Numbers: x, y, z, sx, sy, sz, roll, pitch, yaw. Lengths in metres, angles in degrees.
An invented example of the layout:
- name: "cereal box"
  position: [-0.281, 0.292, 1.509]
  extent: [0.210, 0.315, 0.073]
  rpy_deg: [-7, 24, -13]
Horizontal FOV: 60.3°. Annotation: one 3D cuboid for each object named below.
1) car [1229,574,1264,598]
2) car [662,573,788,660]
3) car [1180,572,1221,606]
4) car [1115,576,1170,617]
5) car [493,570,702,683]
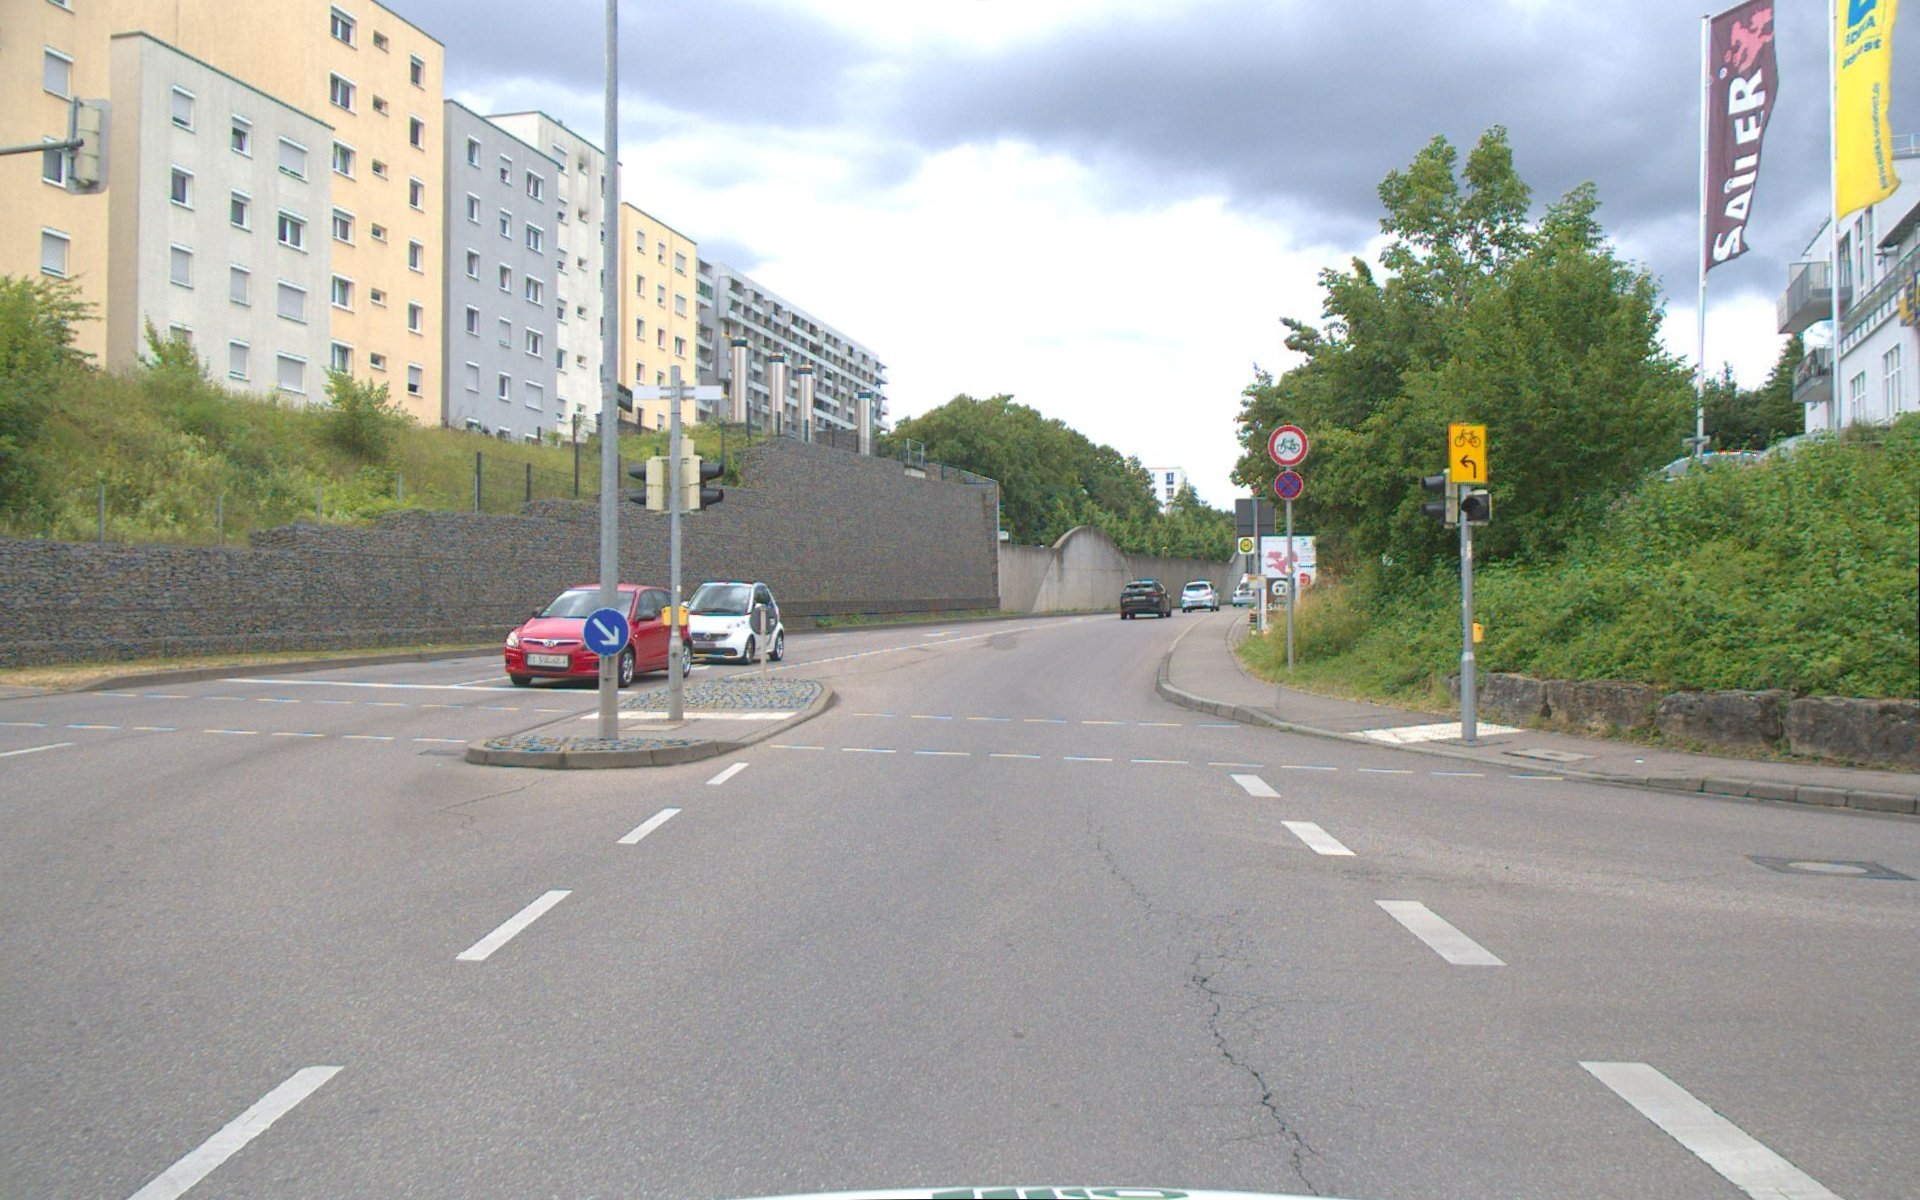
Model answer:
- name: "car"
  position: [19.100, -0.898, 110.199]
  extent: [1.827, 1.516, 4.259]
  rpy_deg: [1, 0, 16]
- name: "car"
  position: [-4.441, 0.289, 31.643]
  extent: [1.510, 1.550, 2.917]
  rpy_deg: [1, 1, 11]
- name: "car"
  position: [12.131, -0.539, 83.319]
  extent: [1.717, 1.550, 4.039]
  rpy_deg: [1, -1, 13]
- name: "car"
  position: [7.368, -0.125, 66.521]
  extent: [1.717, 1.550, 4.039]
  rpy_deg: [1, -1, 13]
- name: "car"
  position: [-5.401, 0.396, 25.177]
  extent: [1.717, 1.550, 4.096]
  rpy_deg: [1, -1, 9]
